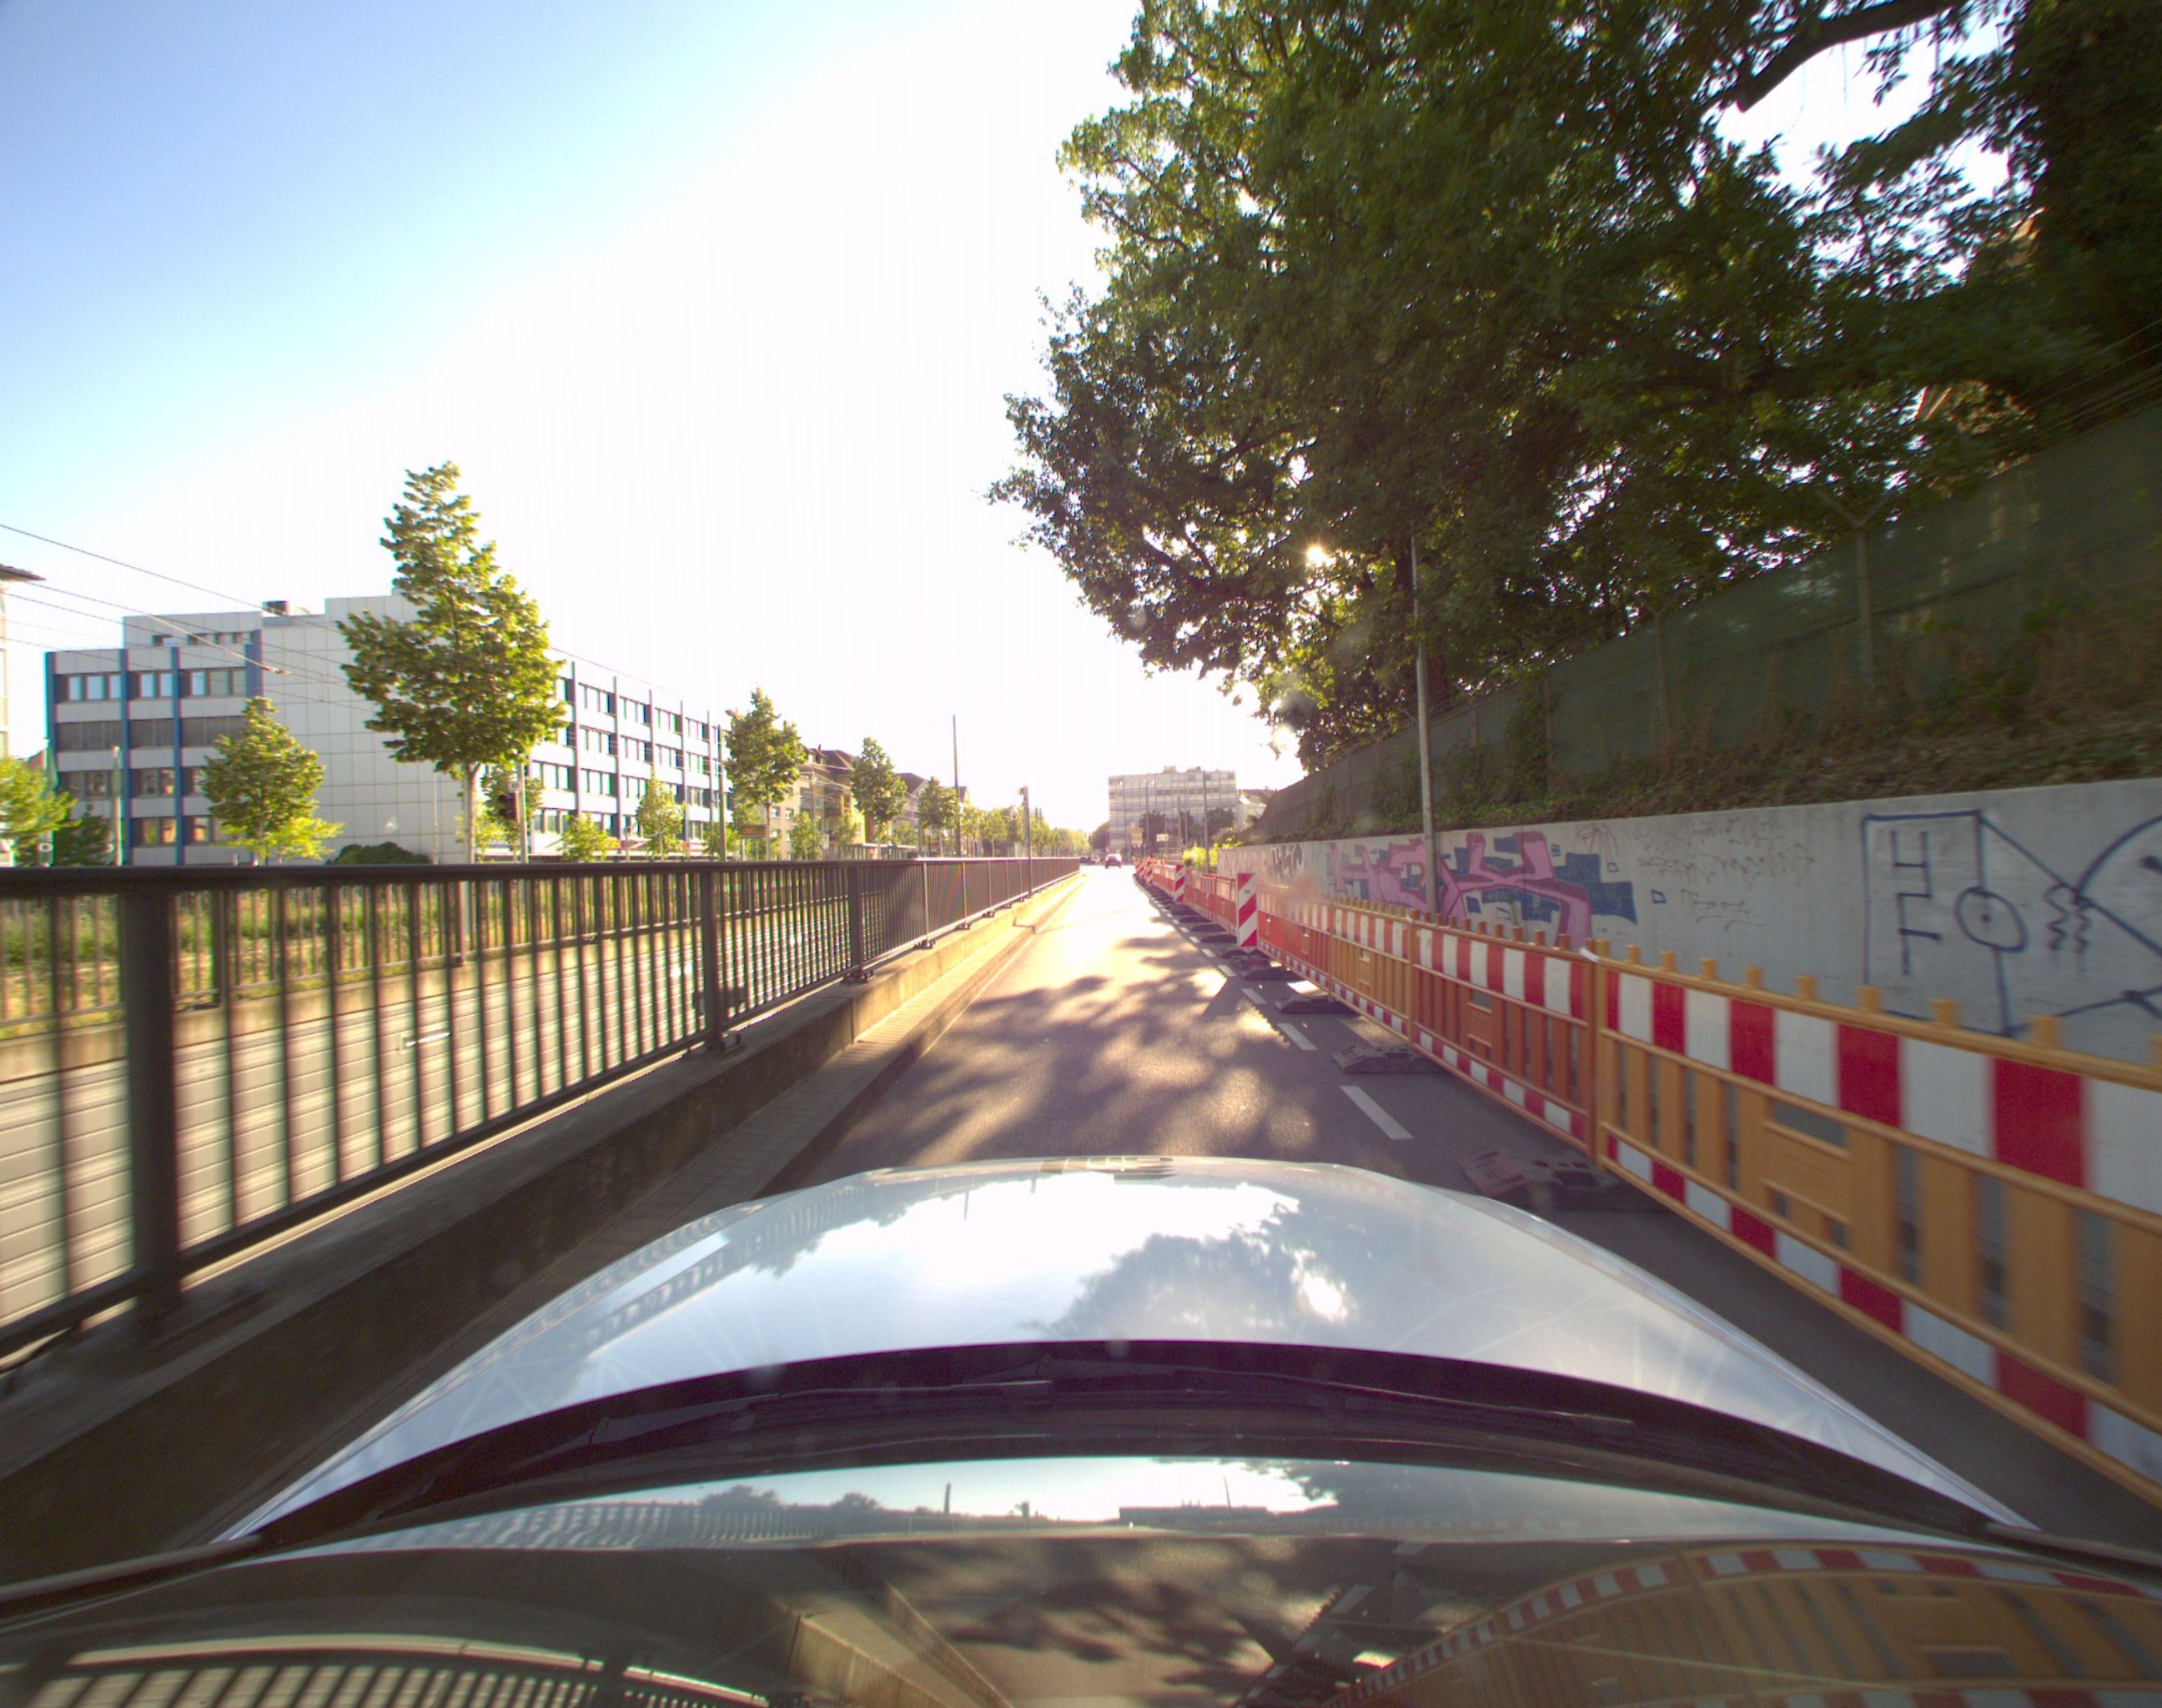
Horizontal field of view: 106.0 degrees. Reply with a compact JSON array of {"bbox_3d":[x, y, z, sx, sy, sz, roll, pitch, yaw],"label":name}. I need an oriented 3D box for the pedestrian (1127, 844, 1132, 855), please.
[{"bbox_3d":[9.894,-0.924,166.395,0.887,2.112,0.719,-1,0,6],"label":"pedestrian"}]

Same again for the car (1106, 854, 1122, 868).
[{"bbox_3d":[4.171,0.869,102.869,1.997,1.659,4.002,0,-1,3],"label":"car"}]

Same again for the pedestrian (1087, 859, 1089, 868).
[{"bbox_3d":[1.205,1.591,143.010,0.277,1.575,0.436,1,-1,-24],"label":"pedestrian"}]
